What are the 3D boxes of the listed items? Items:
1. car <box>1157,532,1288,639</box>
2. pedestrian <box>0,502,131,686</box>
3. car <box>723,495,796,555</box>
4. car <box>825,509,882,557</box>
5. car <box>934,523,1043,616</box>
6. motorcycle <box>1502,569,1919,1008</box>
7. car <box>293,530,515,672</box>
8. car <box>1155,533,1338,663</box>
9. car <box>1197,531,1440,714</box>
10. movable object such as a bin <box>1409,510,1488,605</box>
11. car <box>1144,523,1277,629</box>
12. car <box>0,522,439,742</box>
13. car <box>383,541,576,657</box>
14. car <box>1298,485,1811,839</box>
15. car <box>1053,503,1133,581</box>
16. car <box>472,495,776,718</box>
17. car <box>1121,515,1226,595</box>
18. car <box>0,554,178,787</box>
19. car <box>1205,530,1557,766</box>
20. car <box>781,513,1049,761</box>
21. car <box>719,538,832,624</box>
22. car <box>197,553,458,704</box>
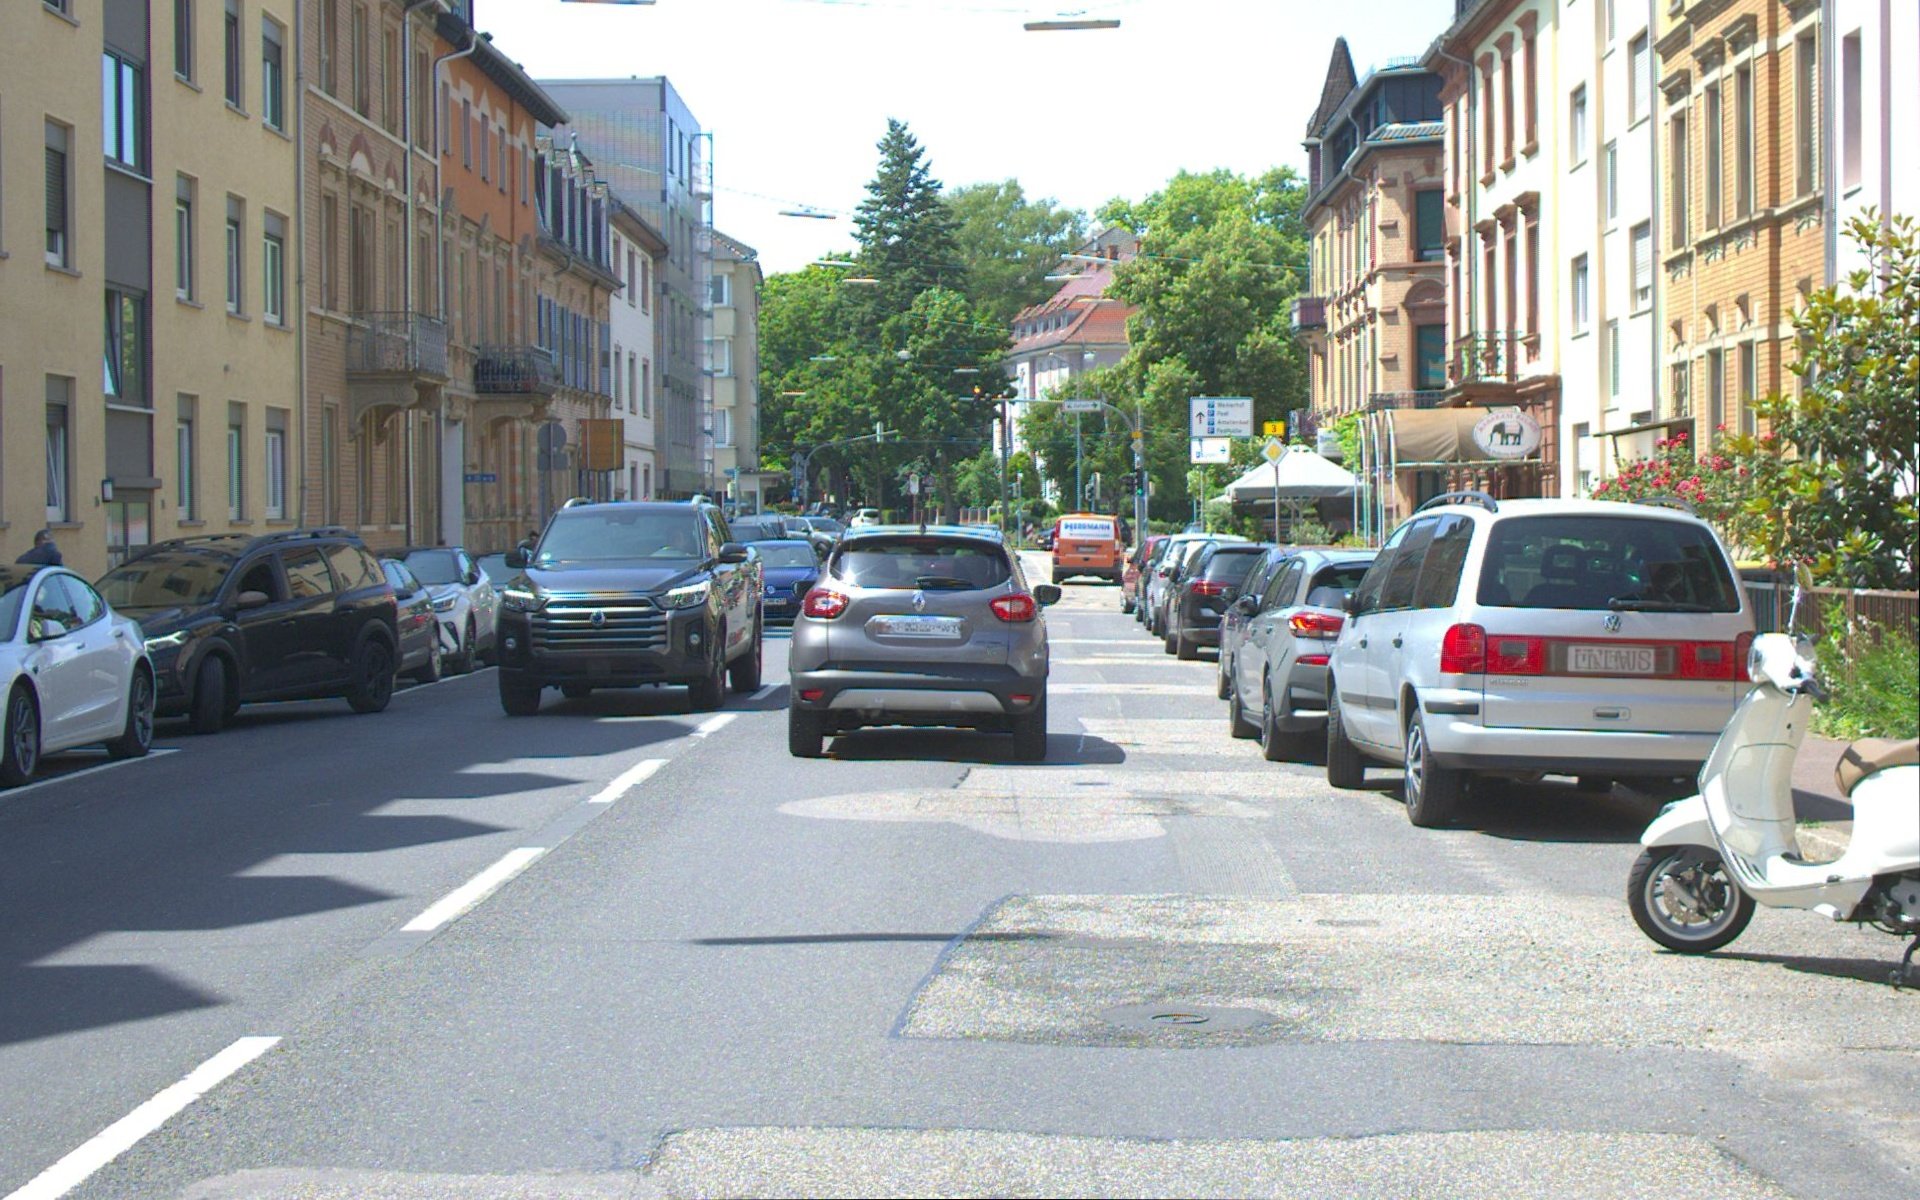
[{"bbox_3d":[3.766,-0.236,49.765,1.660,1.436,4.000,1,2,1],"label":"car"},{"bbox_3d":[-8.857,-0.071,33.547,1.154,1.744,0.967,0,2,41],"label":"pedestrian"},{"bbox_3d":[-6.313,-2.377,108.737,1.905,1.815,4.302,-1,1,2],"label":"car"},{"bbox_3d":[-3.711,-2.313,120.095,1.939,1.620,4.000,0,1,-1],"label":"car"},{"bbox_3d":[0.498,-0.599,63.969,1.812,1.615,4.442,-2,1,-1],"label":"car"},{"bbox_3d":[2.997,0.594,11.683,1.994,1.381,1.110,1,1,38],"label":"motorcycle"},{"bbox_3d":[-6.628,-0.036,41.409,1.904,1.505,4.303,-3,1,0],"label":"car"},{"bbox_3d":[3.507,-0.064,42.876,1.860,1.460,4.618,1,2,0],"label":"car"},{"bbox_3d":[3.186,0.143,31.336,1.695,1.482,4.618,1,2,0],"label":"car"},{"bbox_3d":[7.274,-0.643,51.275,1.043,1.397,1.254,0,2,3],"label":"movable object such as a bin"},{"bbox_3d":[3.895,-0.413,54.017,1.860,1.548,4.000,1,2,1],"label":"car"},{"bbox_3d":[-6.460,0.223,29.941,1.906,1.632,4.554,-2,1,18],"label":"car"},{"bbox_3d":[-6.586,-0.056,47.609,1.905,1.396,4.755,-3,1,0],"label":"car"},{"bbox_3d":[3.195,0.246,19.460,1.860,1.742,4.619,1,2,-3],"label":"car"},{"bbox_3d":[3.655,-1.616,93.977,1.994,2.006,4.466,-1,2,4],"label":"car"},{"bbox_3d":[-2.922,-0.015,31.048,1.994,1.786,5.148,-2,2,2],"label":"car"},{"bbox_3d":[3.956,-0.859,64.187,1.611,1.438,3.437,0,2,-2],"label":"car"},{"bbox_3d":[-6.880,0.469,23.567,1.840,1.417,4.558,-4,1,1],"label":"car"},{"bbox_3d":[2.913,0.272,24.681,1.860,1.482,4.310,1,2,-2],"label":"car"},{"bbox_3d":[-0.290,0.199,24.412,1.744,1.611,4.000,0,1,0],"label":"car"},{"bbox_3d":[-3.118,-0.351,58.769,1.816,1.384,4.001,-1,1,-2],"label":"car"},{"bbox_3d":[-6.642,0.261,36.503,1.905,1.374,4.061,-3,1,1],"label":"car"}]
